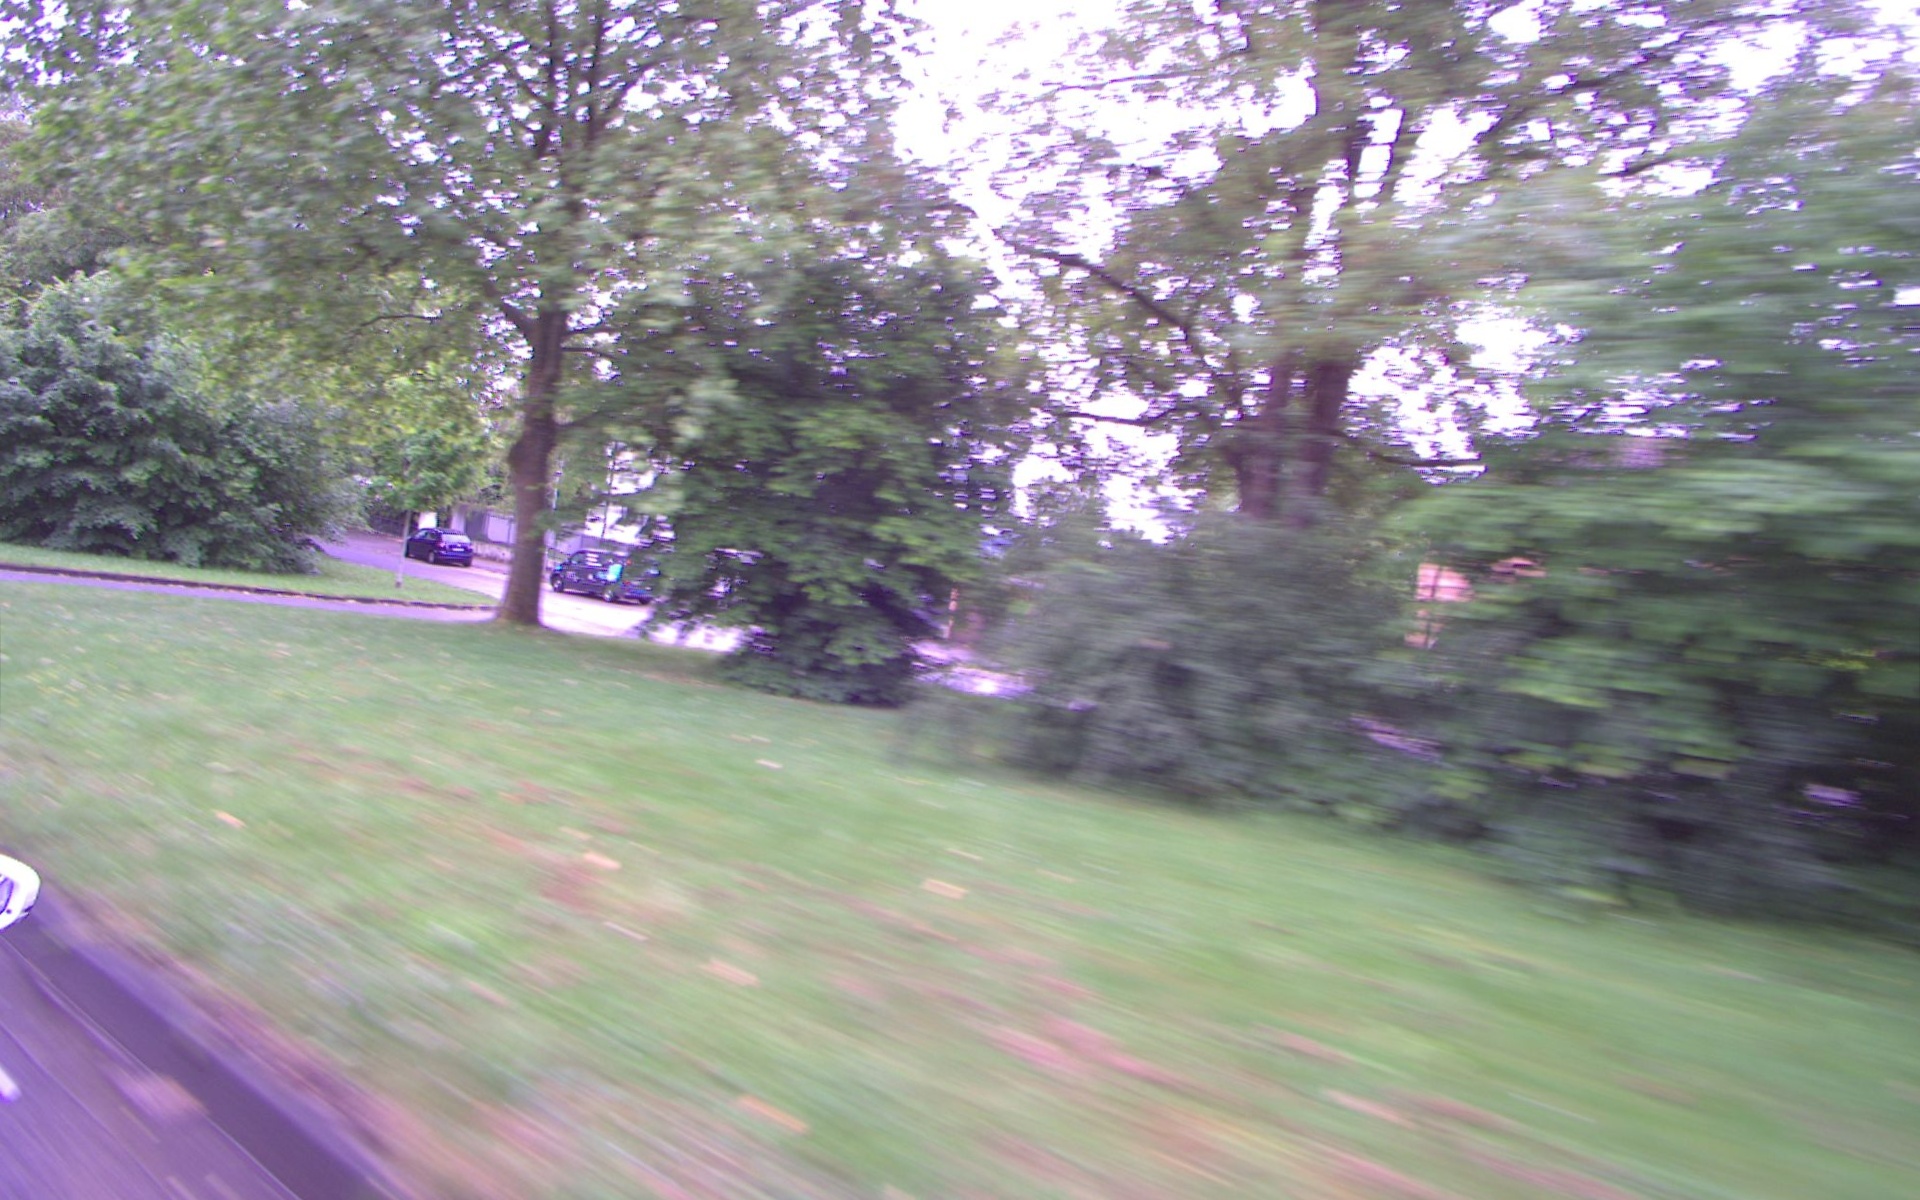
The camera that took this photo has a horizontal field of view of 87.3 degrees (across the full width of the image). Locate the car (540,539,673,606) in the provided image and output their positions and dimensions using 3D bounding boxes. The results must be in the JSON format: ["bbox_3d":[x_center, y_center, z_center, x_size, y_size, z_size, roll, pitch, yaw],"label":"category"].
[{"bbox_3d":[-13.729,-1.069,39.018,4.987,1.903,2.160,9,2,33],"label":"car"}]

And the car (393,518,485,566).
[{"bbox_3d":[-23.544,-2.625,45.415,3.969,1.645,1.902,9,2,33],"label":"car"}]
